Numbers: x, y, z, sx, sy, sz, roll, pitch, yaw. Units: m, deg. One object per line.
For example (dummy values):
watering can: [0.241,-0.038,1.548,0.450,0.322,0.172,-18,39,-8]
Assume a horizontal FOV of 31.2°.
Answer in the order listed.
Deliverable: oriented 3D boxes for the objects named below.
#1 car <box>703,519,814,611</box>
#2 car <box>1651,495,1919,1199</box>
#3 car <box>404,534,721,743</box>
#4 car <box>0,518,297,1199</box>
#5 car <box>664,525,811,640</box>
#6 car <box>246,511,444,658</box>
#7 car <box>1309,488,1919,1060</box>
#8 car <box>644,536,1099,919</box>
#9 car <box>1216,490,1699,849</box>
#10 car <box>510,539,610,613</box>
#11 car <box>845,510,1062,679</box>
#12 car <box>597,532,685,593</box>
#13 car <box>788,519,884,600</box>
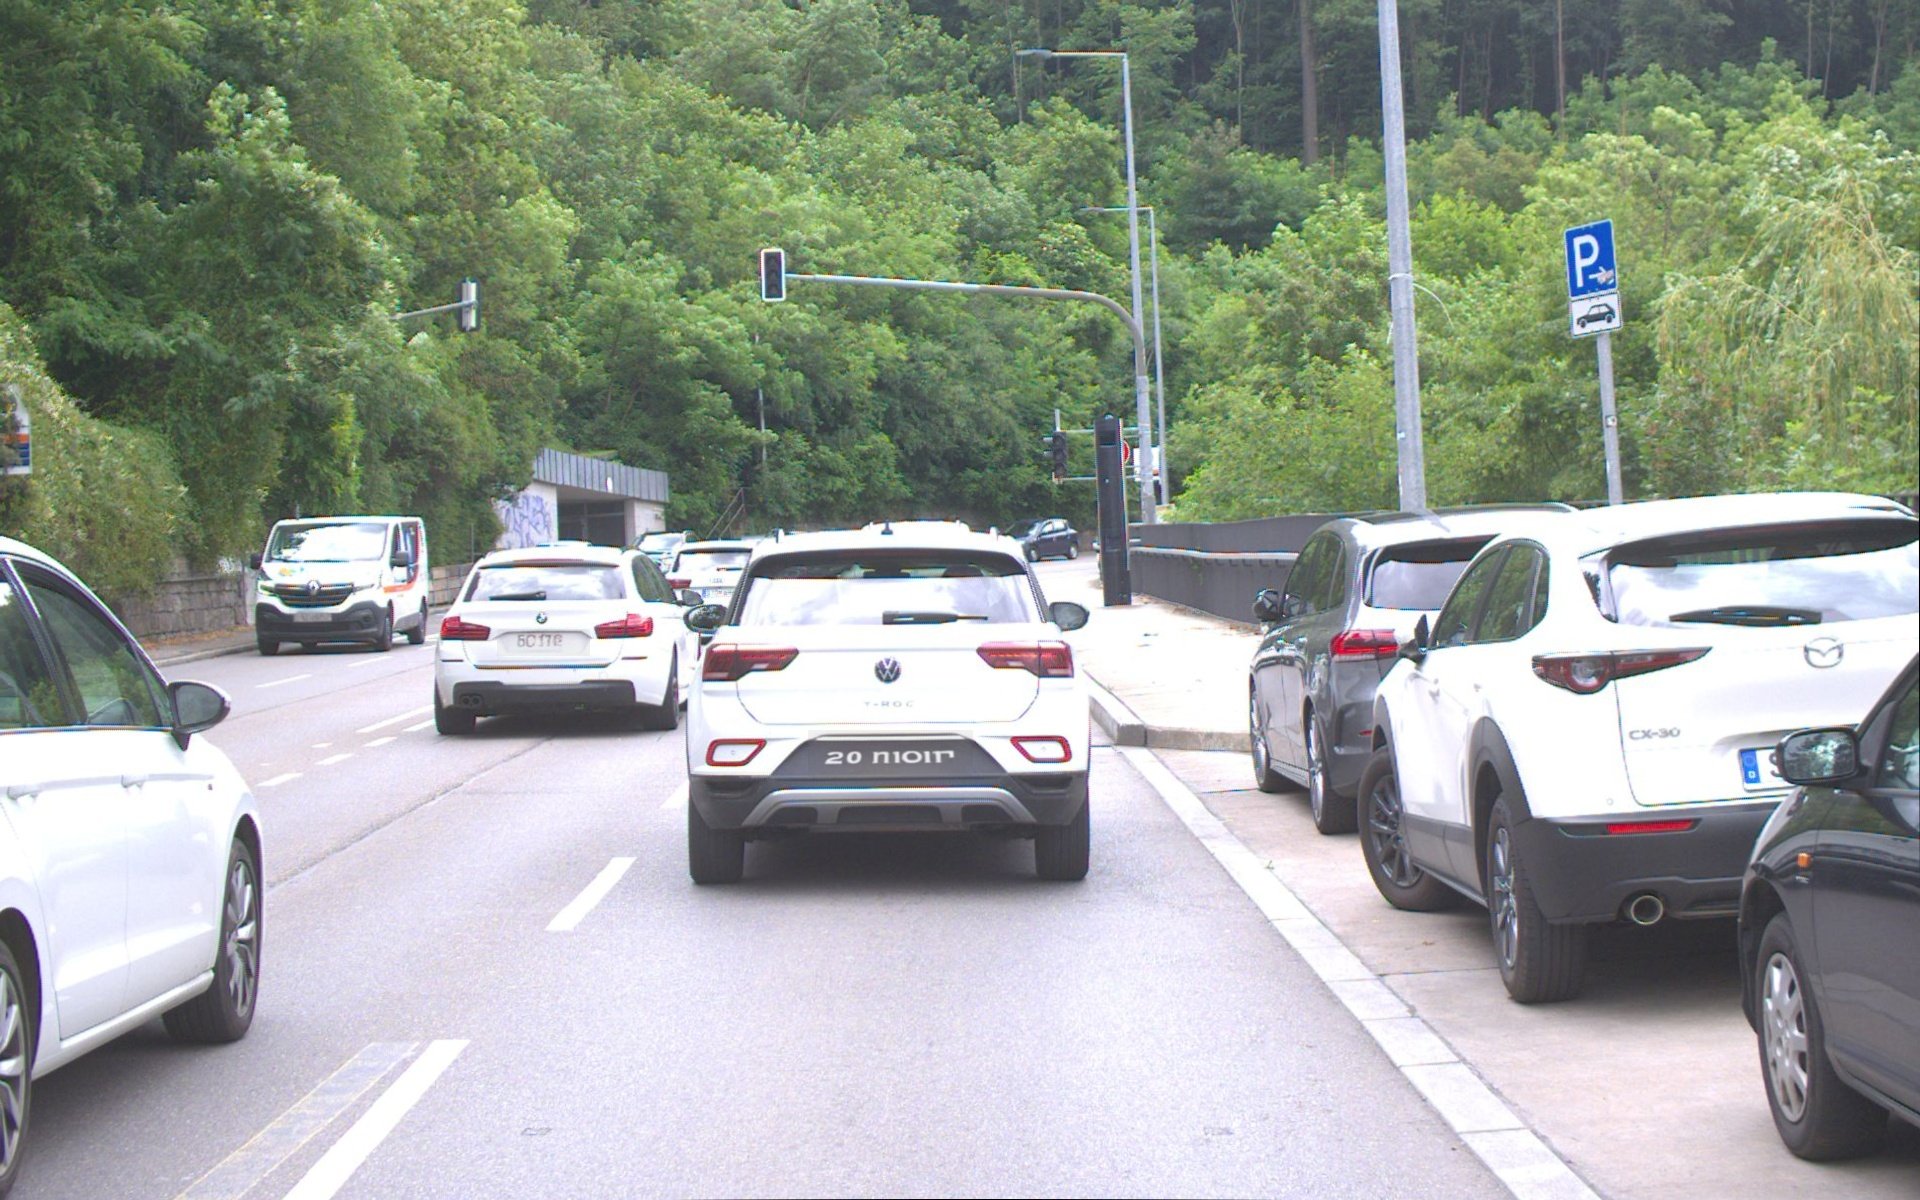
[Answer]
car: [-3.988,-0.709,68.538,1.993,1.735,4.000,-1,1,-1]
car: [2.671,0.539,6.649,1.659,1.566,4.255,-4,1,-1]
car: [-3.142,0.243,28.136,1.993,1.552,4.681,0,1,1]
car: [-2.976,0.586,8.956,1.720,1.549,4.276,-1,1,-1]
car: [-3.167,-0.279,49.600,1.862,1.589,4.000,0,1,0]
car: [-8.979,-0.269,50.618,1.921,1.998,5.356,-2,1,0]
car: [2.386,0.455,12.059,1.726,1.563,4.624,-3,1,-1]
car: [-0.288,0.503,16.336,1.814,1.534,4.008,-2,1,3]
car: [2.487,0.285,18.252,1.757,1.538,4.427,-5,1,-1]
car: [-8.969,-0.562,77.407,1.676,1.437,4.234,0,3,1]
car: [-0.014,-0.089,39.607,1.994,1.837,4.149,0,1,7]
car: [-8.578,-1.014,92.712,1.942,1.543,4.249,-2,1,0]
car: [-2.946,-0.991,82.439,1.994,1.858,4.000,-1,1,2]
